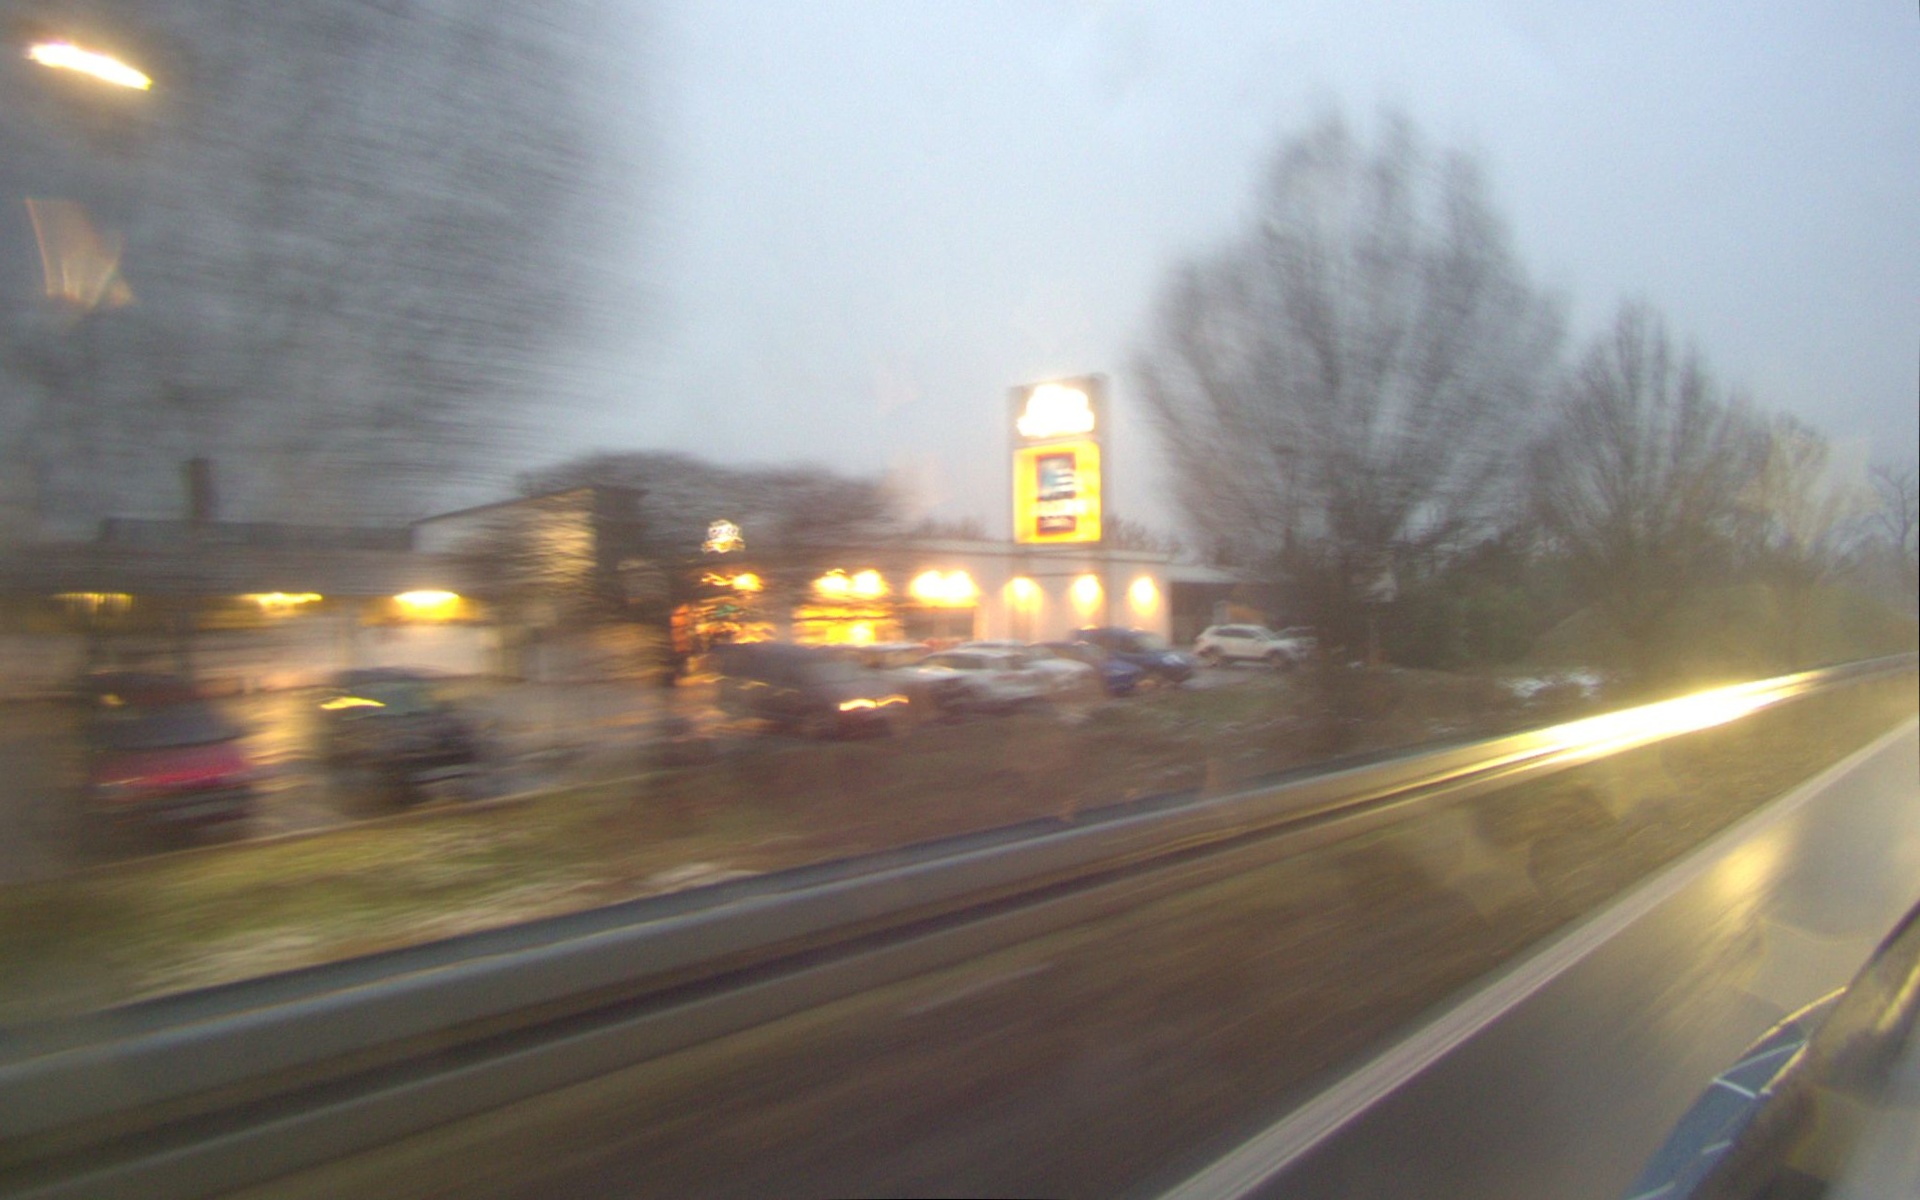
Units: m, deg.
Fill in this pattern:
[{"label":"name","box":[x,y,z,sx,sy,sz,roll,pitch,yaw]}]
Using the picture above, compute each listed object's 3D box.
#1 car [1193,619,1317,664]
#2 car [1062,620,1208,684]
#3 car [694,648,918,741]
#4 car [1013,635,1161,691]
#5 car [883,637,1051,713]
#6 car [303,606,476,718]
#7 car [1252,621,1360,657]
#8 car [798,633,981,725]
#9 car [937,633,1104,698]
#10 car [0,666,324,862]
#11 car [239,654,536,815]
[{"label":"car","box":[11.819,1.648,40.713,4.385,1.737,1.971,-2,-2,40]},{"label":"car","box":[5.581,1.612,32.445,4.231,1.878,1.975,0,-1,34]},{"label":"car","box":[-3.230,1.841,20.757,4.703,1.508,1.642,0,1,35]},{"label":"car","box":[3.705,1.823,29.761,3.849,1.497,1.975,-2,-2,34]},{"label":"car","box":[0.118,1.801,25.310,4.121,1.439,1.639,3,3,39]},{"label":"car","box":[-15.240,1.560,27.371,2.061,2.552,4.366,-3,1,1]},{"label":"car","box":[15.524,1.764,45.469,4.168,1.537,1.972,-2,-3,38]},{"label":"car","box":[-1.688,1.762,23.376,4.115,1.858,1.641,-2,0,37]},{"label":"car","box":[1.641,1.773,28.061,4.231,1.651,1.975,-2,-2,34]},{"label":"car","box":[-9.811,1.807,12.338,4.110,1.746,1.998,0,0,33]},{"label":"car","box":[-8.204,1.762,14.437,4.109,1.751,1.999,0,1,33]}]
